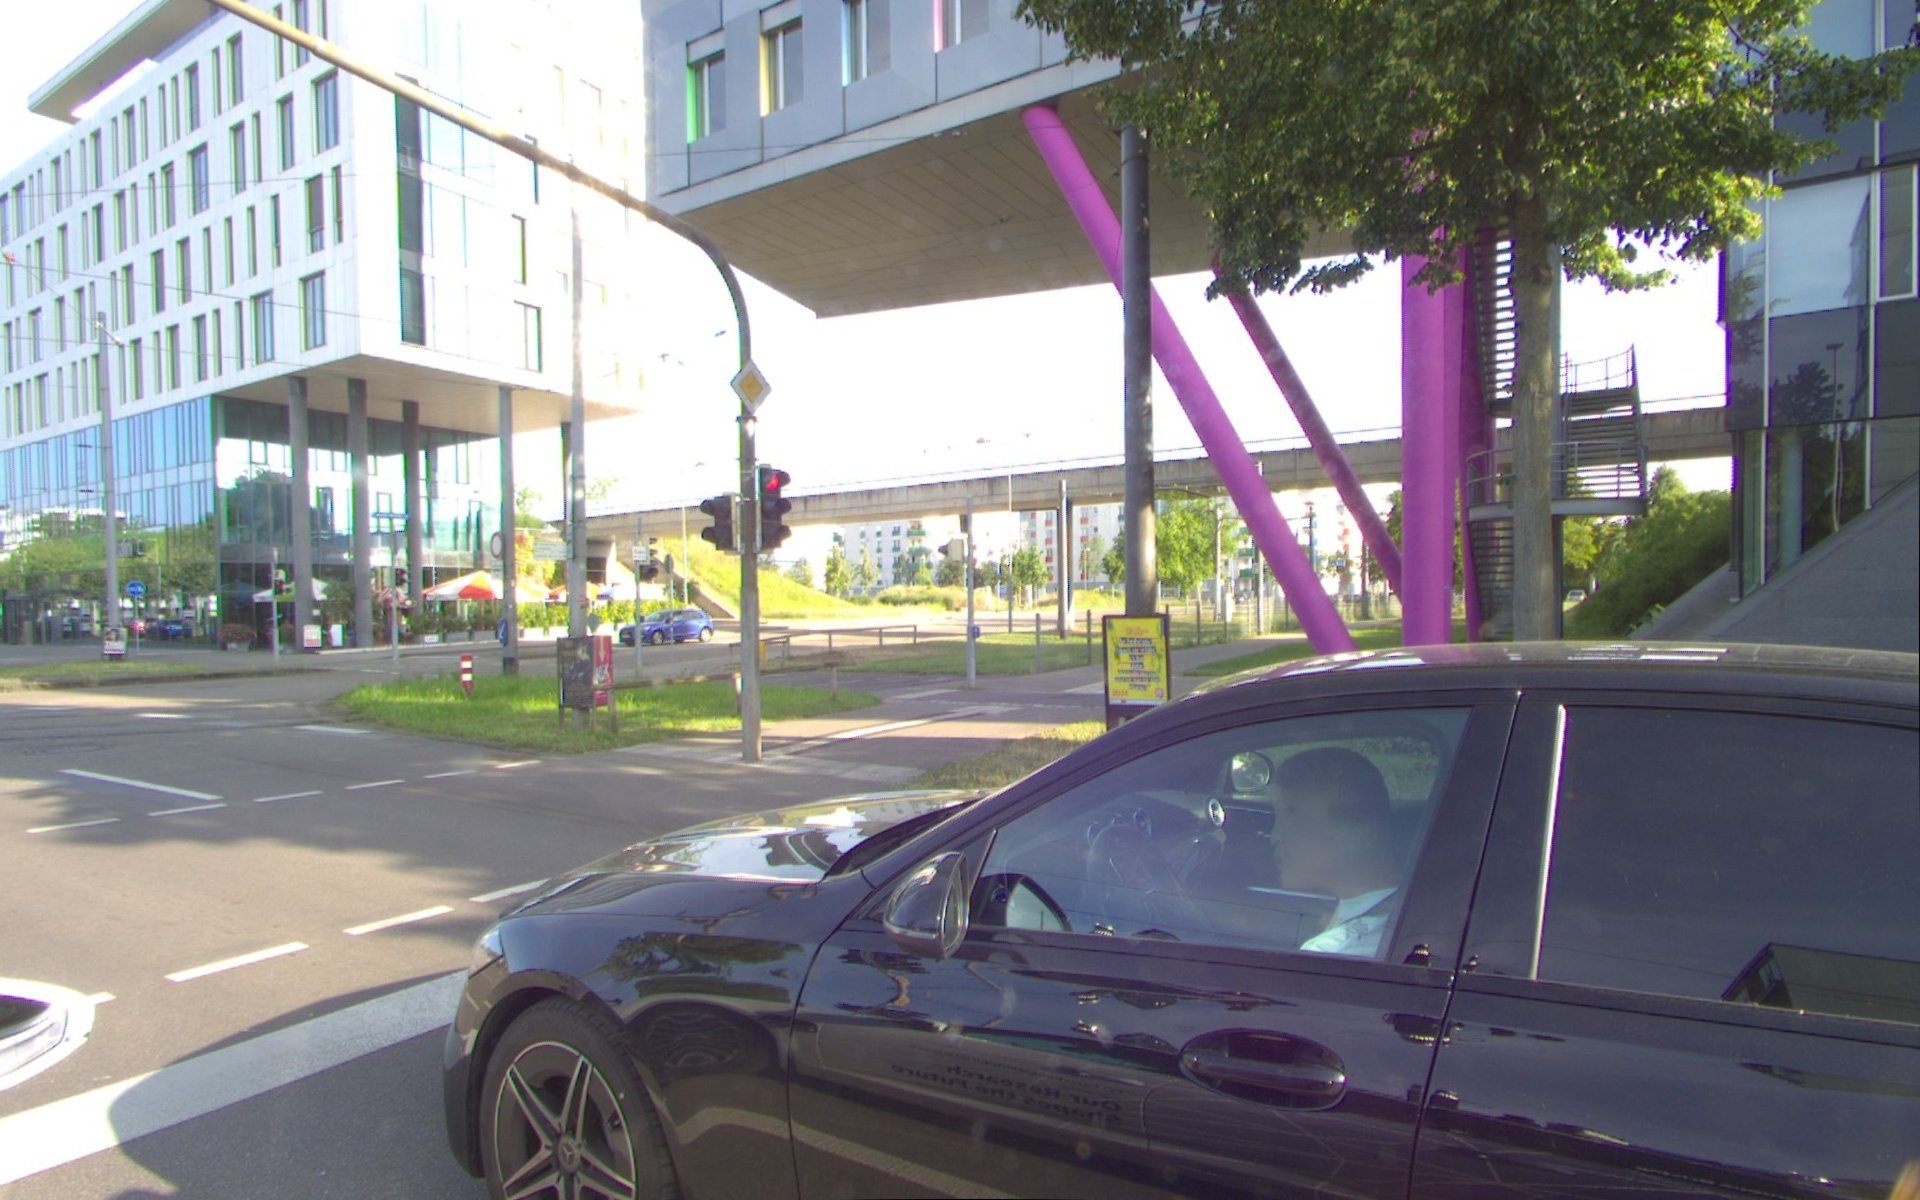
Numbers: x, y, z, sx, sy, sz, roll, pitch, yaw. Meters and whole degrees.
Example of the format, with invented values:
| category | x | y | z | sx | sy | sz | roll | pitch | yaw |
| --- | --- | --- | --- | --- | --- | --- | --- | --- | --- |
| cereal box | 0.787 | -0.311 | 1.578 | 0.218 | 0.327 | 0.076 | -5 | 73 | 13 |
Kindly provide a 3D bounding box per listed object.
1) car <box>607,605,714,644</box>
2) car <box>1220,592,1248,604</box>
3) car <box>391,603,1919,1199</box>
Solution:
| category | x | y | z | sx | sy | sz | roll | pitch | yaw |
| --- | --- | --- | --- | --- | --- | --- | --- | --- | --- |
| car | -12.471 | 0.984 | 41.951 | 1.832 | 1.443 | 4.176 | 0 | 1 | 31 |
| car | 34.067 | -0.237 | 124.650 | 1.823 | 1.443 | 4.196 | -1 | 0 | -7 |
| car | 0.855 | 0.758 | 2.137 | 4.493 | 1.469 | 1.834 | 0 | -1 | 34 |
